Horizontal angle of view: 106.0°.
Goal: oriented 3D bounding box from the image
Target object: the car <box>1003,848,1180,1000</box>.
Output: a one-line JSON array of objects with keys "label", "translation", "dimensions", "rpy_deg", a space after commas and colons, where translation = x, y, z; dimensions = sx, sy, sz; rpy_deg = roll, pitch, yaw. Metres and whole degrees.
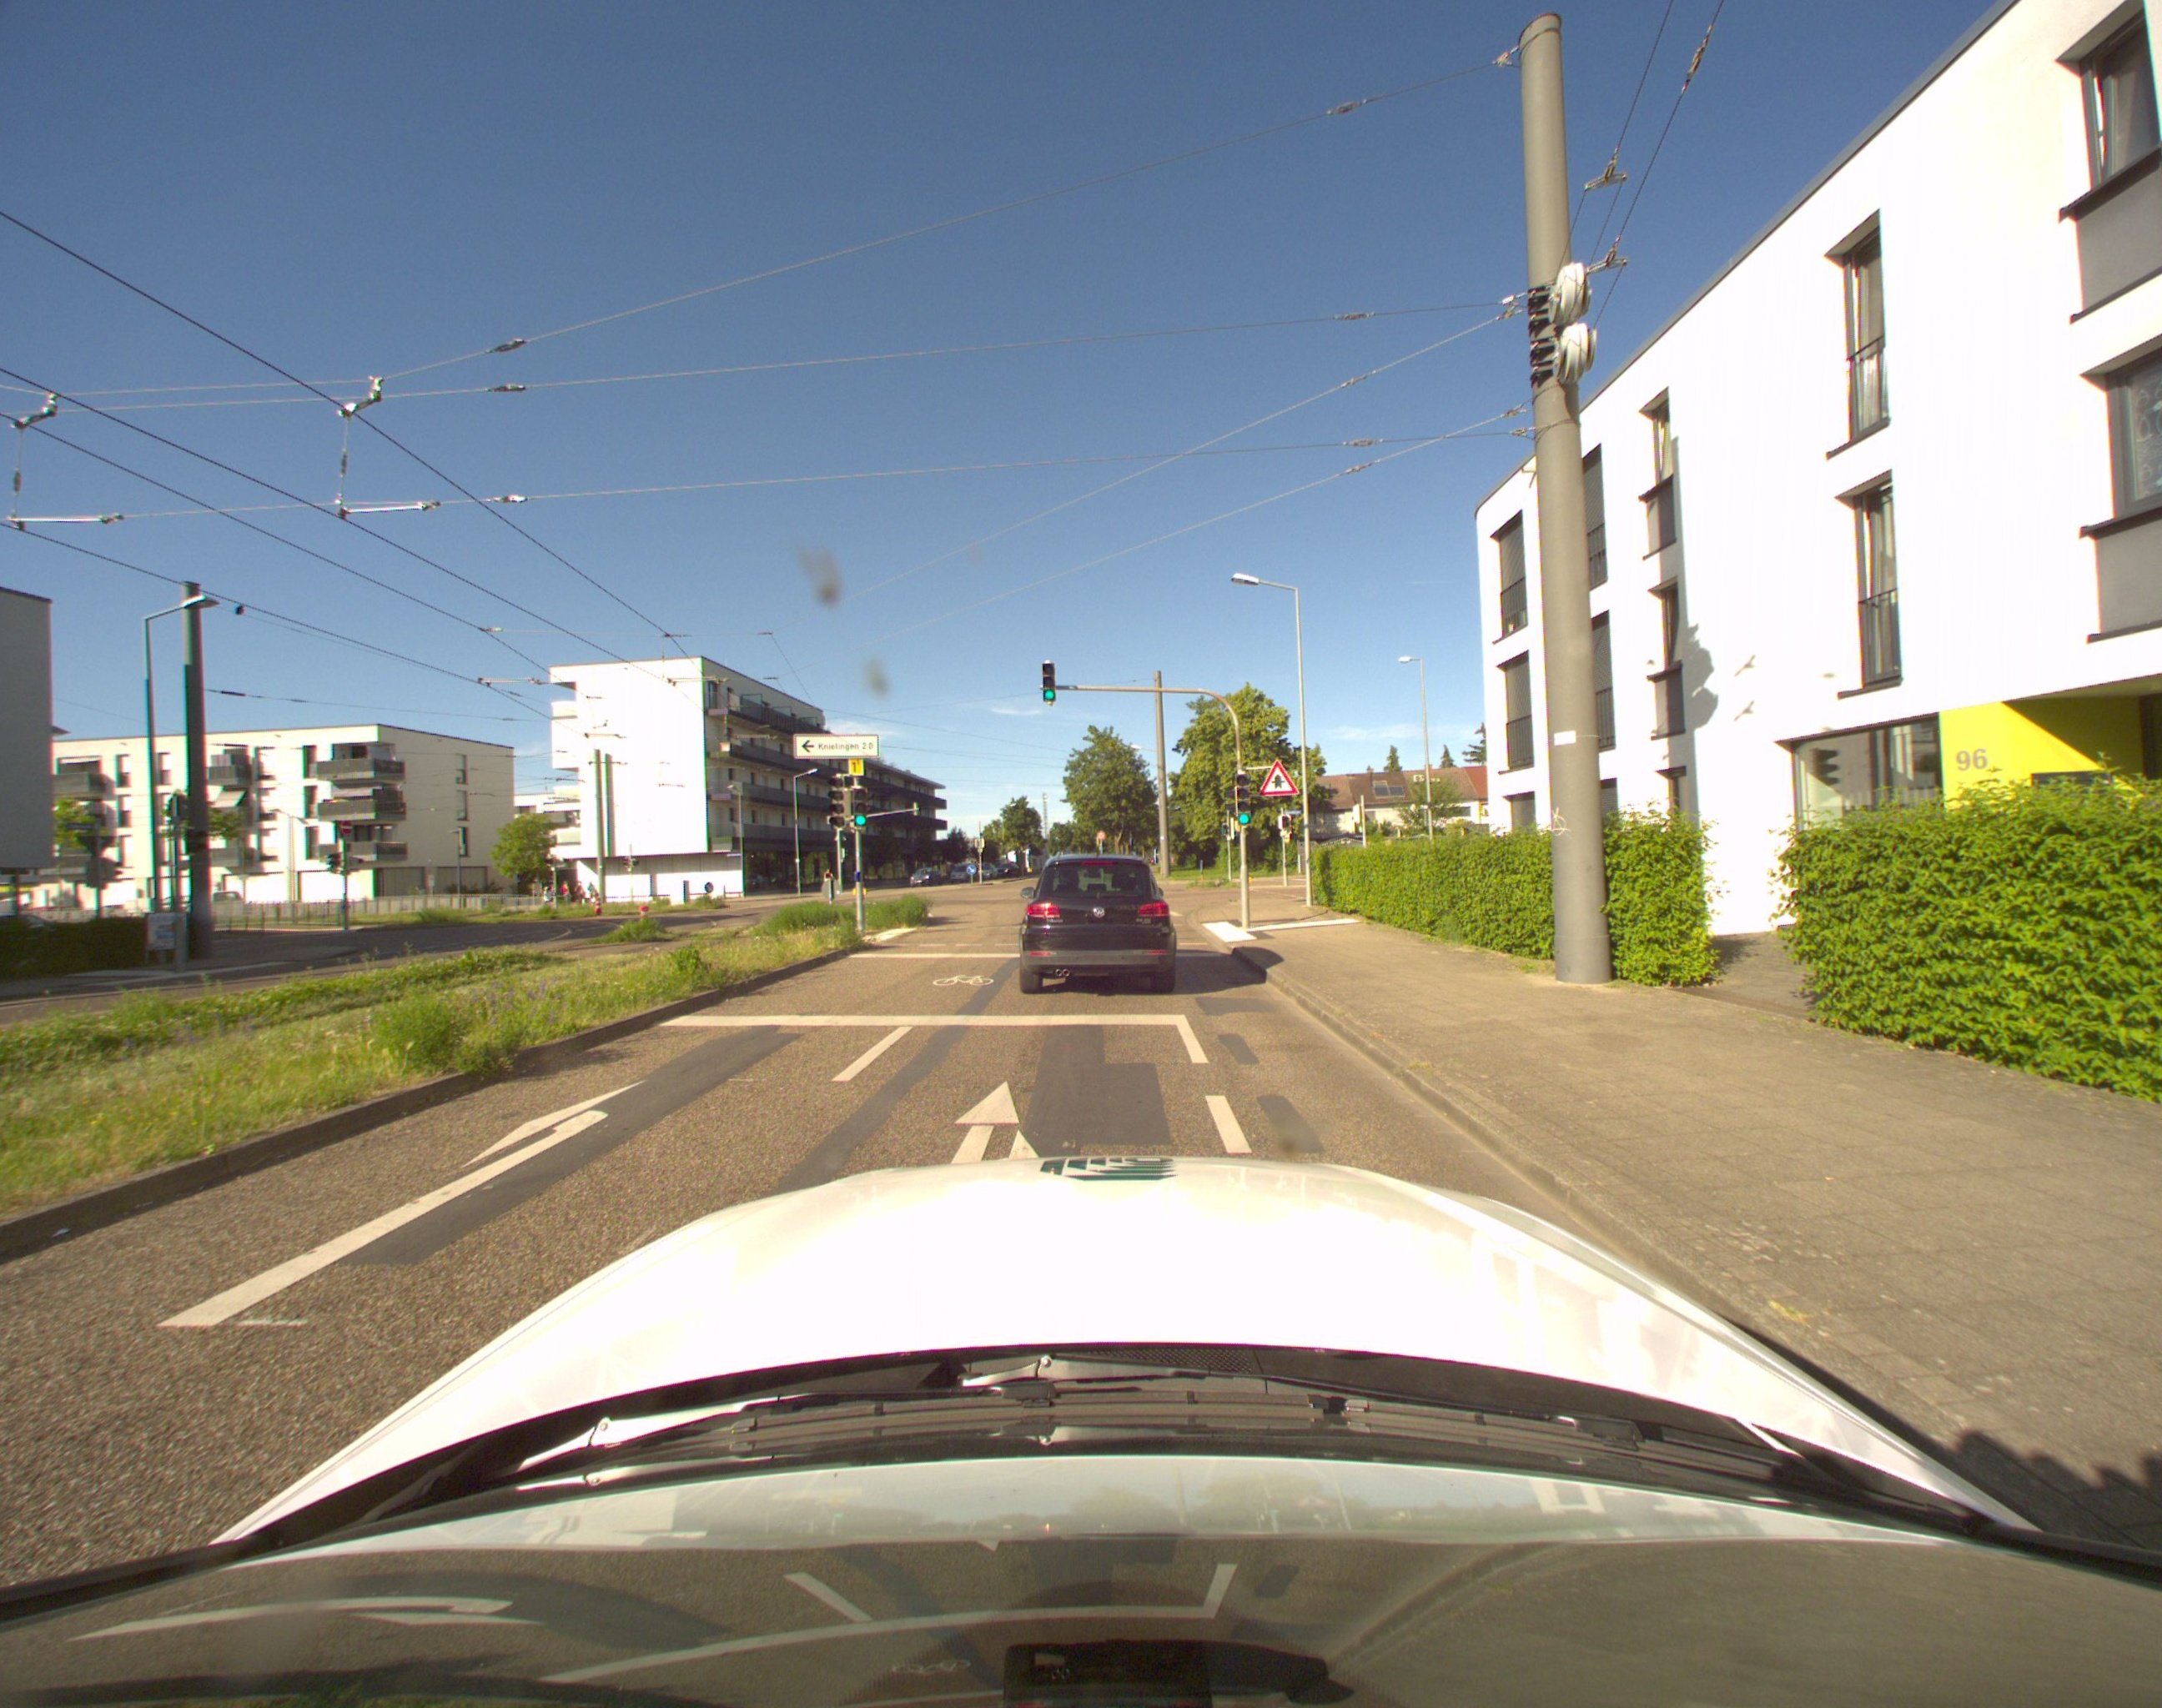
[{"label": "car", "translation": [0.170, 0.787, 11.164], "dimensions": [1.922, 1.654, 4.515], "rpy_deg": [0, -1, 1]}]

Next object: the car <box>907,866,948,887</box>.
[{"label": "car", "translation": [-12.151, 1.768, 64.771], "dimensions": [1.684, 1.456, 4.466], "rpy_deg": [-3, -1, 11]}]

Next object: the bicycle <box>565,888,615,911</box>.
[{"label": "bicycle", "translation": [-29.799, 2.766, 49.473], "dimensions": [0.895, 1.198, 2.834], "rpy_deg": [-3, -1, 12]}]

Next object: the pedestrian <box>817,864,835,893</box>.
[{"label": "pedestrian", "translation": [-18.489, 1.760, 59.136], "dimensions": [0.974, 2.014, 0.760], "rpy_deg": [-3, -1, 0]}]

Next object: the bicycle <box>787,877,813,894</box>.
[{"label": "bicycle", "translation": [-20.691, 2.299, 59.947], "dimensions": [1.651, 1.144, 0.736], "rpy_deg": [-2, -1, -38]}]

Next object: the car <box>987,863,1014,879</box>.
[{"label": "car", "translation": [-8.606, 1.776, 87.043], "dimensions": [1.958, 1.534, 4.747], "rpy_deg": [-3, -1, 5]}]

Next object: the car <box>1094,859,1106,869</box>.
[{"label": "car", "translation": [3.955, 2.015, 166.681], "dimensions": [1.984, 1.737, 5.206], "rpy_deg": [-3, 0, 5]}]

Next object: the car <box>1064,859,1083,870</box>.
[{"label": "car", "translation": [-1.119, 1.507, 118.561], "dimensions": [1.981, 1.571, 4.012], "rpy_deg": [-3, -1, 11]}]

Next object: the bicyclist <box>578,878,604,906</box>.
[{"label": "bicyclist", "translation": [-29.805, 2.316, 49.570], "dimensions": [0.886, 1.592, 0.916], "rpy_deg": [-3, -1, 11]}]

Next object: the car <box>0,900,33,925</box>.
[{"label": "car", "translation": [-73.769, 3.947, 54.869], "dimensions": [3.968, 1.553, 2.003], "rpy_deg": [-1, -1, 5]}]

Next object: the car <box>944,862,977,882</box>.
[{"label": "car", "translation": [-10.982, 1.620, 74.504], "dimensions": [1.985, 1.755, 4.366], "rpy_deg": [-2, -1, 3]}]

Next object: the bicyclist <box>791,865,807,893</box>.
[{"label": "bicyclist", "translation": [-20.759, 1.844, 59.916], "dimensions": [0.799, 2.014, 0.802], "rpy_deg": [-2, -1, -37]}]

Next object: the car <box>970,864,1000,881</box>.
[{"label": "car", "translation": [-9.522, 1.794, 80.921], "dimensions": [1.982, 1.487, 3.553], "rpy_deg": [-5, -1, 9]}]
